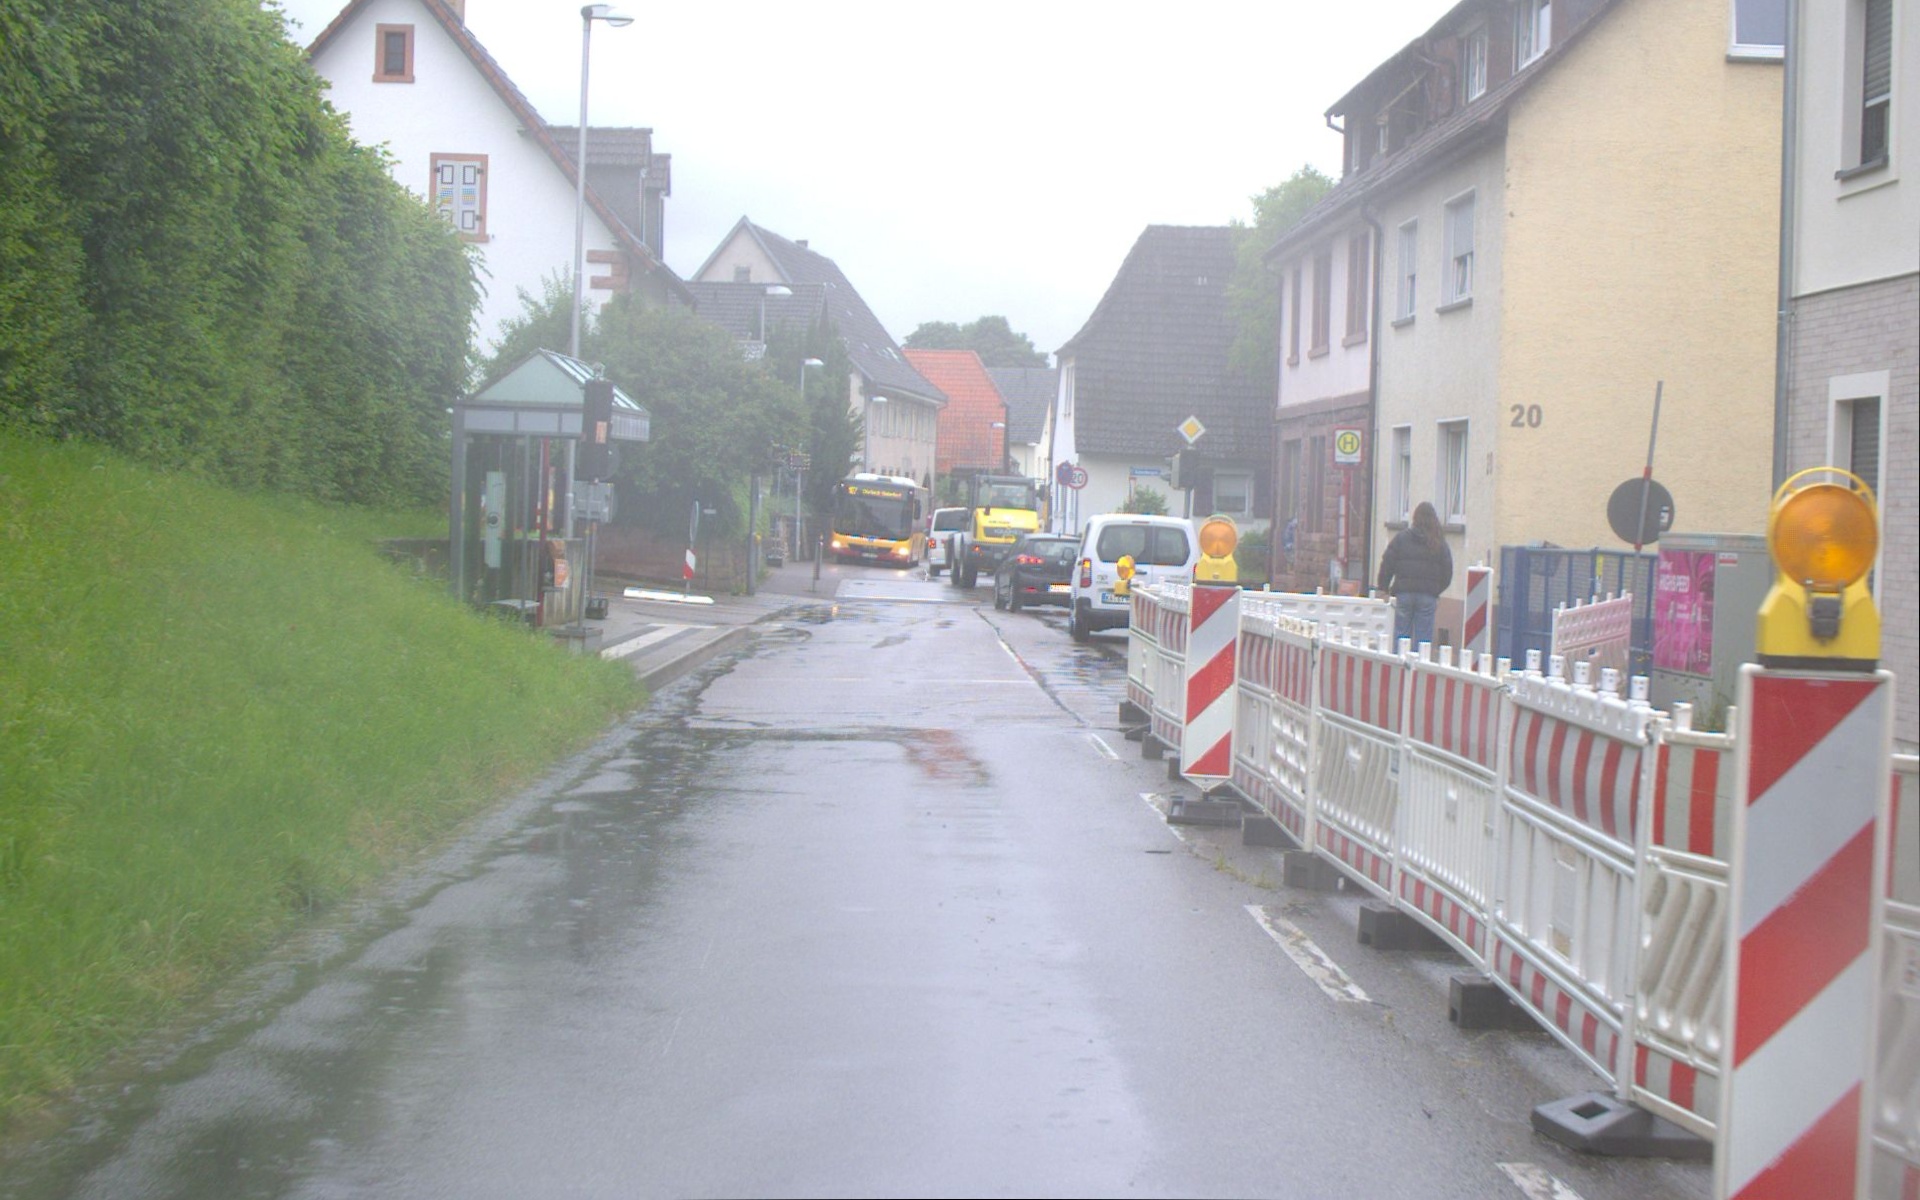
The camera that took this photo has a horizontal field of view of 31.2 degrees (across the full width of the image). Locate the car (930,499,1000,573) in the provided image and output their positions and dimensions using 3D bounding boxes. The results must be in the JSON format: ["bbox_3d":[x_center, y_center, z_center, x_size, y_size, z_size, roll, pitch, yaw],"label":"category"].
[{"bbox_3d":[0.166,-1.853,98.629,1.727,2.000,3.974,3,2,3],"label":"car"}]

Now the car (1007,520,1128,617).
[{"bbox_3d":[1.923,-0.604,62.752,1.809,1.591,3.756,3,2,-3],"label":"car"}]

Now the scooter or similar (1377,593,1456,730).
[{"bbox_3d":[3.981,0.524,29.968,0.620,1.123,1.401,2,1,8],"label":"scooter or similar"}]

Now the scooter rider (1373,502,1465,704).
[{"bbox_3d":[4.012,0.024,30.081,0.731,1.727,0.518,2,1,7],"label":"scooter rider"}]

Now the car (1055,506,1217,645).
[{"bbox_3d":[2.462,-0.389,48.855,1.894,1.787,3.814,3,2,-2],"label":"car"}]

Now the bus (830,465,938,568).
[{"bbox_3d":[-2.464,-2.895,115.511,2.650,2.989,12.193,3,3,3],"label":"bus"}]

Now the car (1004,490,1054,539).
[{"bbox_3d":[2.926,-3.566,144.533,1.994,2.007,4.000,0,1,3],"label":"car"}]

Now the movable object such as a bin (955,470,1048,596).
[{"bbox_3d":[0.885,-1.507,76.232,1.727,2.644,3.975,3,2,-2],"label":"movable object such as a bin"}]
